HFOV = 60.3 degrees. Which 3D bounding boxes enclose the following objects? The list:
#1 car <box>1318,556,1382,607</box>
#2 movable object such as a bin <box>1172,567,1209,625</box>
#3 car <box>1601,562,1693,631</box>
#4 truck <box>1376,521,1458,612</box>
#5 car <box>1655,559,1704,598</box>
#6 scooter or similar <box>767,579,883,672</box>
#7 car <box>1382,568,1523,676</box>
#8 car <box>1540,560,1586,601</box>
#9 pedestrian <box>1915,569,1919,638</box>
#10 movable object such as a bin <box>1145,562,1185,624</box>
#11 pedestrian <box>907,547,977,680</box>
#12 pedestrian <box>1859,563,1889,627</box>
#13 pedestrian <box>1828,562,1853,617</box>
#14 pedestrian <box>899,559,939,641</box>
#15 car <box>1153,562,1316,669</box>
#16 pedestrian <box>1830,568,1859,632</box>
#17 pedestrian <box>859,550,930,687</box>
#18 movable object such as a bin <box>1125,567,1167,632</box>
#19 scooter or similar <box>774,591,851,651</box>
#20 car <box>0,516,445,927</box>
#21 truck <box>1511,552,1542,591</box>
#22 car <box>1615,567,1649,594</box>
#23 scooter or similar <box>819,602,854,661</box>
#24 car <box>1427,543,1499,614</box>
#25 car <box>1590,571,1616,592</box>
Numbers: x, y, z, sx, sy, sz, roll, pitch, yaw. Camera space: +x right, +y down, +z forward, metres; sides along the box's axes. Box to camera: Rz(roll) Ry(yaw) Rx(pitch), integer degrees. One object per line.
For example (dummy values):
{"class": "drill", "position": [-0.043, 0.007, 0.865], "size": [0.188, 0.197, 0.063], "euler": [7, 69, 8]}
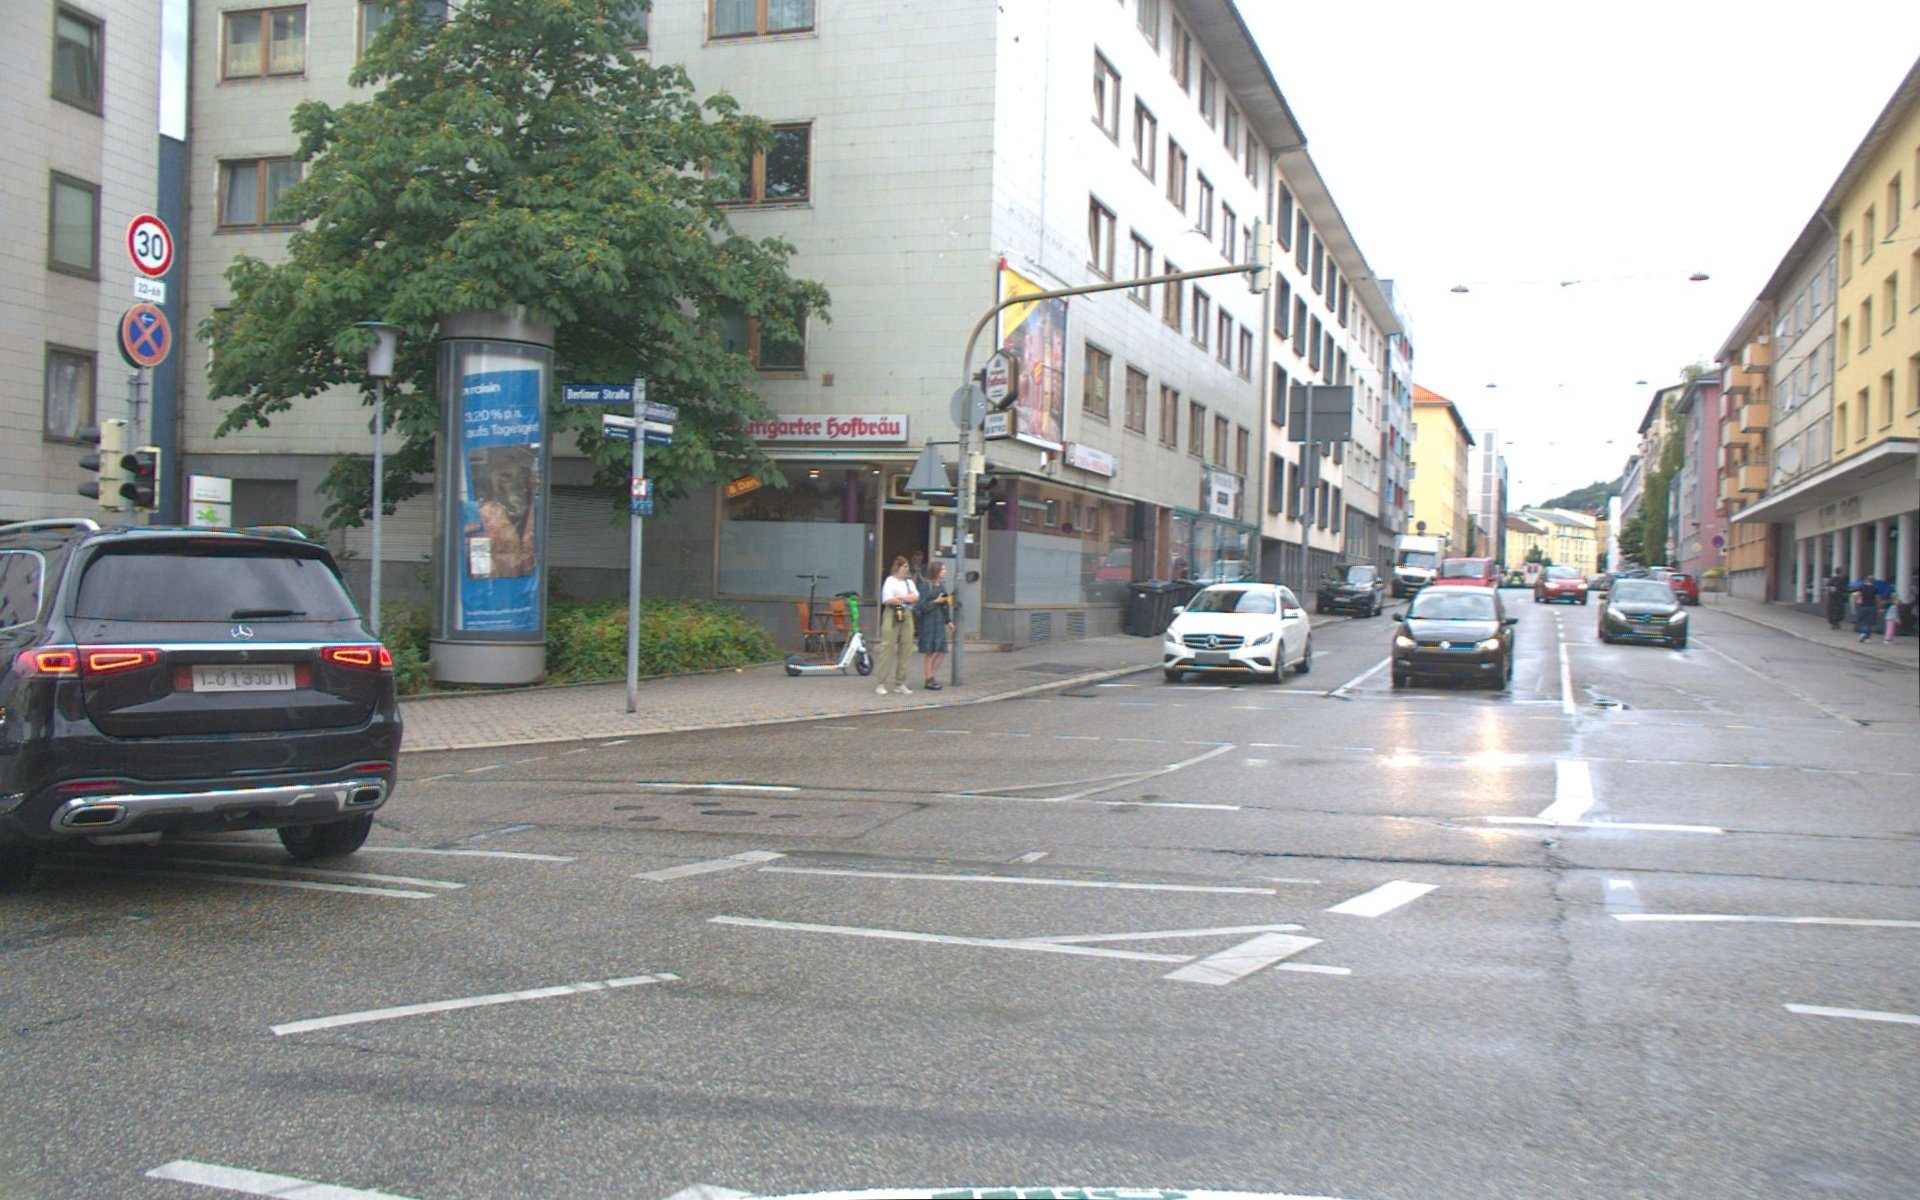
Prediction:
{"class": "car", "position": [13.156, -0.598, 55.632], "size": [1.688, 1.631, 4.001], "euler": [0, 0, 19]}
{"class": "movable object such as a bin", "position": [5.491, -0.096, 39.386], "size": [0.683, 1.338, 0.783], "euler": [2, -1, 19]}
{"class": "car", "position": [15.985, -0.065, 38.623], "size": [1.806, 1.515, 4.000], "euler": [0, 0, 20]}
{"class": "truck", "position": [21.811, -1.499, 78.630], "size": [2.750, 3.899, 8.143], "euler": [2, -1, 22]}
{"class": "car", "position": [34.228, -0.999, 78.759], "size": [1.975, 1.590, 5.153], "euler": [2, -1, 22]}
{"class": "scooter or similar", "position": [-1.876, 0.358, 22.943], "size": [1.528, 1.211, 0.500], "euler": [3, -1, -10]}
{"class": "car", "position": [7.581, 0.316, 25.238], "size": [1.806, 1.515, 4.001], "euler": [-1, 0, 20]}
{"class": "car", "position": [26.115, -0.816, 71.561], "size": [1.806, 1.703, 4.000], "euler": [0, 0, 21]}
{"class": "pedestrian", "position": [22.778, 0.091, 38.824], "size": [0.469, 1.593, 0.558], "euler": [2, 4, 20]}
{"class": "movable object such as a bin", "position": [4.574, -0.153, 36.832], "size": [0.683, 1.338, 0.783], "euler": [2, -1, 19]}
{"class": "pedestrian", "position": [-0.244, 0.168, 21.681], "size": [0.696, 1.675, 0.756], "euler": [1, 3, -16]}
{"class": "pedestrian", "position": [22.917, -0.136, 41.485], "size": [0.509, 1.545, 0.569], "euler": [2, 4, 20]}
{"class": "pedestrian", "position": [25.854, -0.312, 48.570], "size": [0.509, 1.583, 0.569], "euler": [2, 4, 20]}
{"class": "pedestrian", "position": [-0.723, 0.006, 29.239], "size": [0.508, 1.424, 0.579], "euler": [2, -1, 16]}
{"class": "car", "position": [4.375, 0.235, 25.936], "size": [1.806, 1.539, 4.001], "euler": [-1, 0, 20]}
{"class": "pedestrian", "position": [22.348, 0.000, 41.790], "size": [0.509, 1.565, 0.569], "euler": [2, 4, 20]}
{"class": "pedestrian", "position": [-0.839, 0.224, 21.053], "size": [0.696, 1.675, 0.756], "euler": [1, 3, -16]}
{"class": "movable object such as a bin", "position": [3.946, -0.013, 35.083], "size": [0.683, 1.338, 0.783], "euler": [2, -1, 19]}
{"class": "scooter or similar", "position": [-2.266, 0.307, 25.279], "size": [0.543, 0.857, 1.449], "euler": [3, -1, -33]}
{"class": "car", "position": [-5.018, 0.537, 9.519], "size": [2.013, 1.770, 4.668], "euler": [0, 0, -45]}
{"class": "truck", "position": [63.451, -3.176, 185.078], "size": [2.750, 3.899, 8.143], "euler": [2, -1, 22]}
{"class": "car", "position": [44.335, -1.274, 109.095], "size": [1.975, 1.590, 3.999], "euler": [2, -1, 22]}
{"class": "scooter or similar", "position": [-1.857, 0.466, 24.909], "size": [0.449, 0.857, 1.321], "euler": [2, -1, -3]}
{"class": "car", "position": [17.046, -0.683, 55.967], "size": [2.022, 2.280, 4.620], "euler": [0, -1, 21]}
{"class": "car", "position": [55.126, -1.561, 141.728], "size": [1.975, 1.590, 3.999], "euler": [2, -1, 22]}
